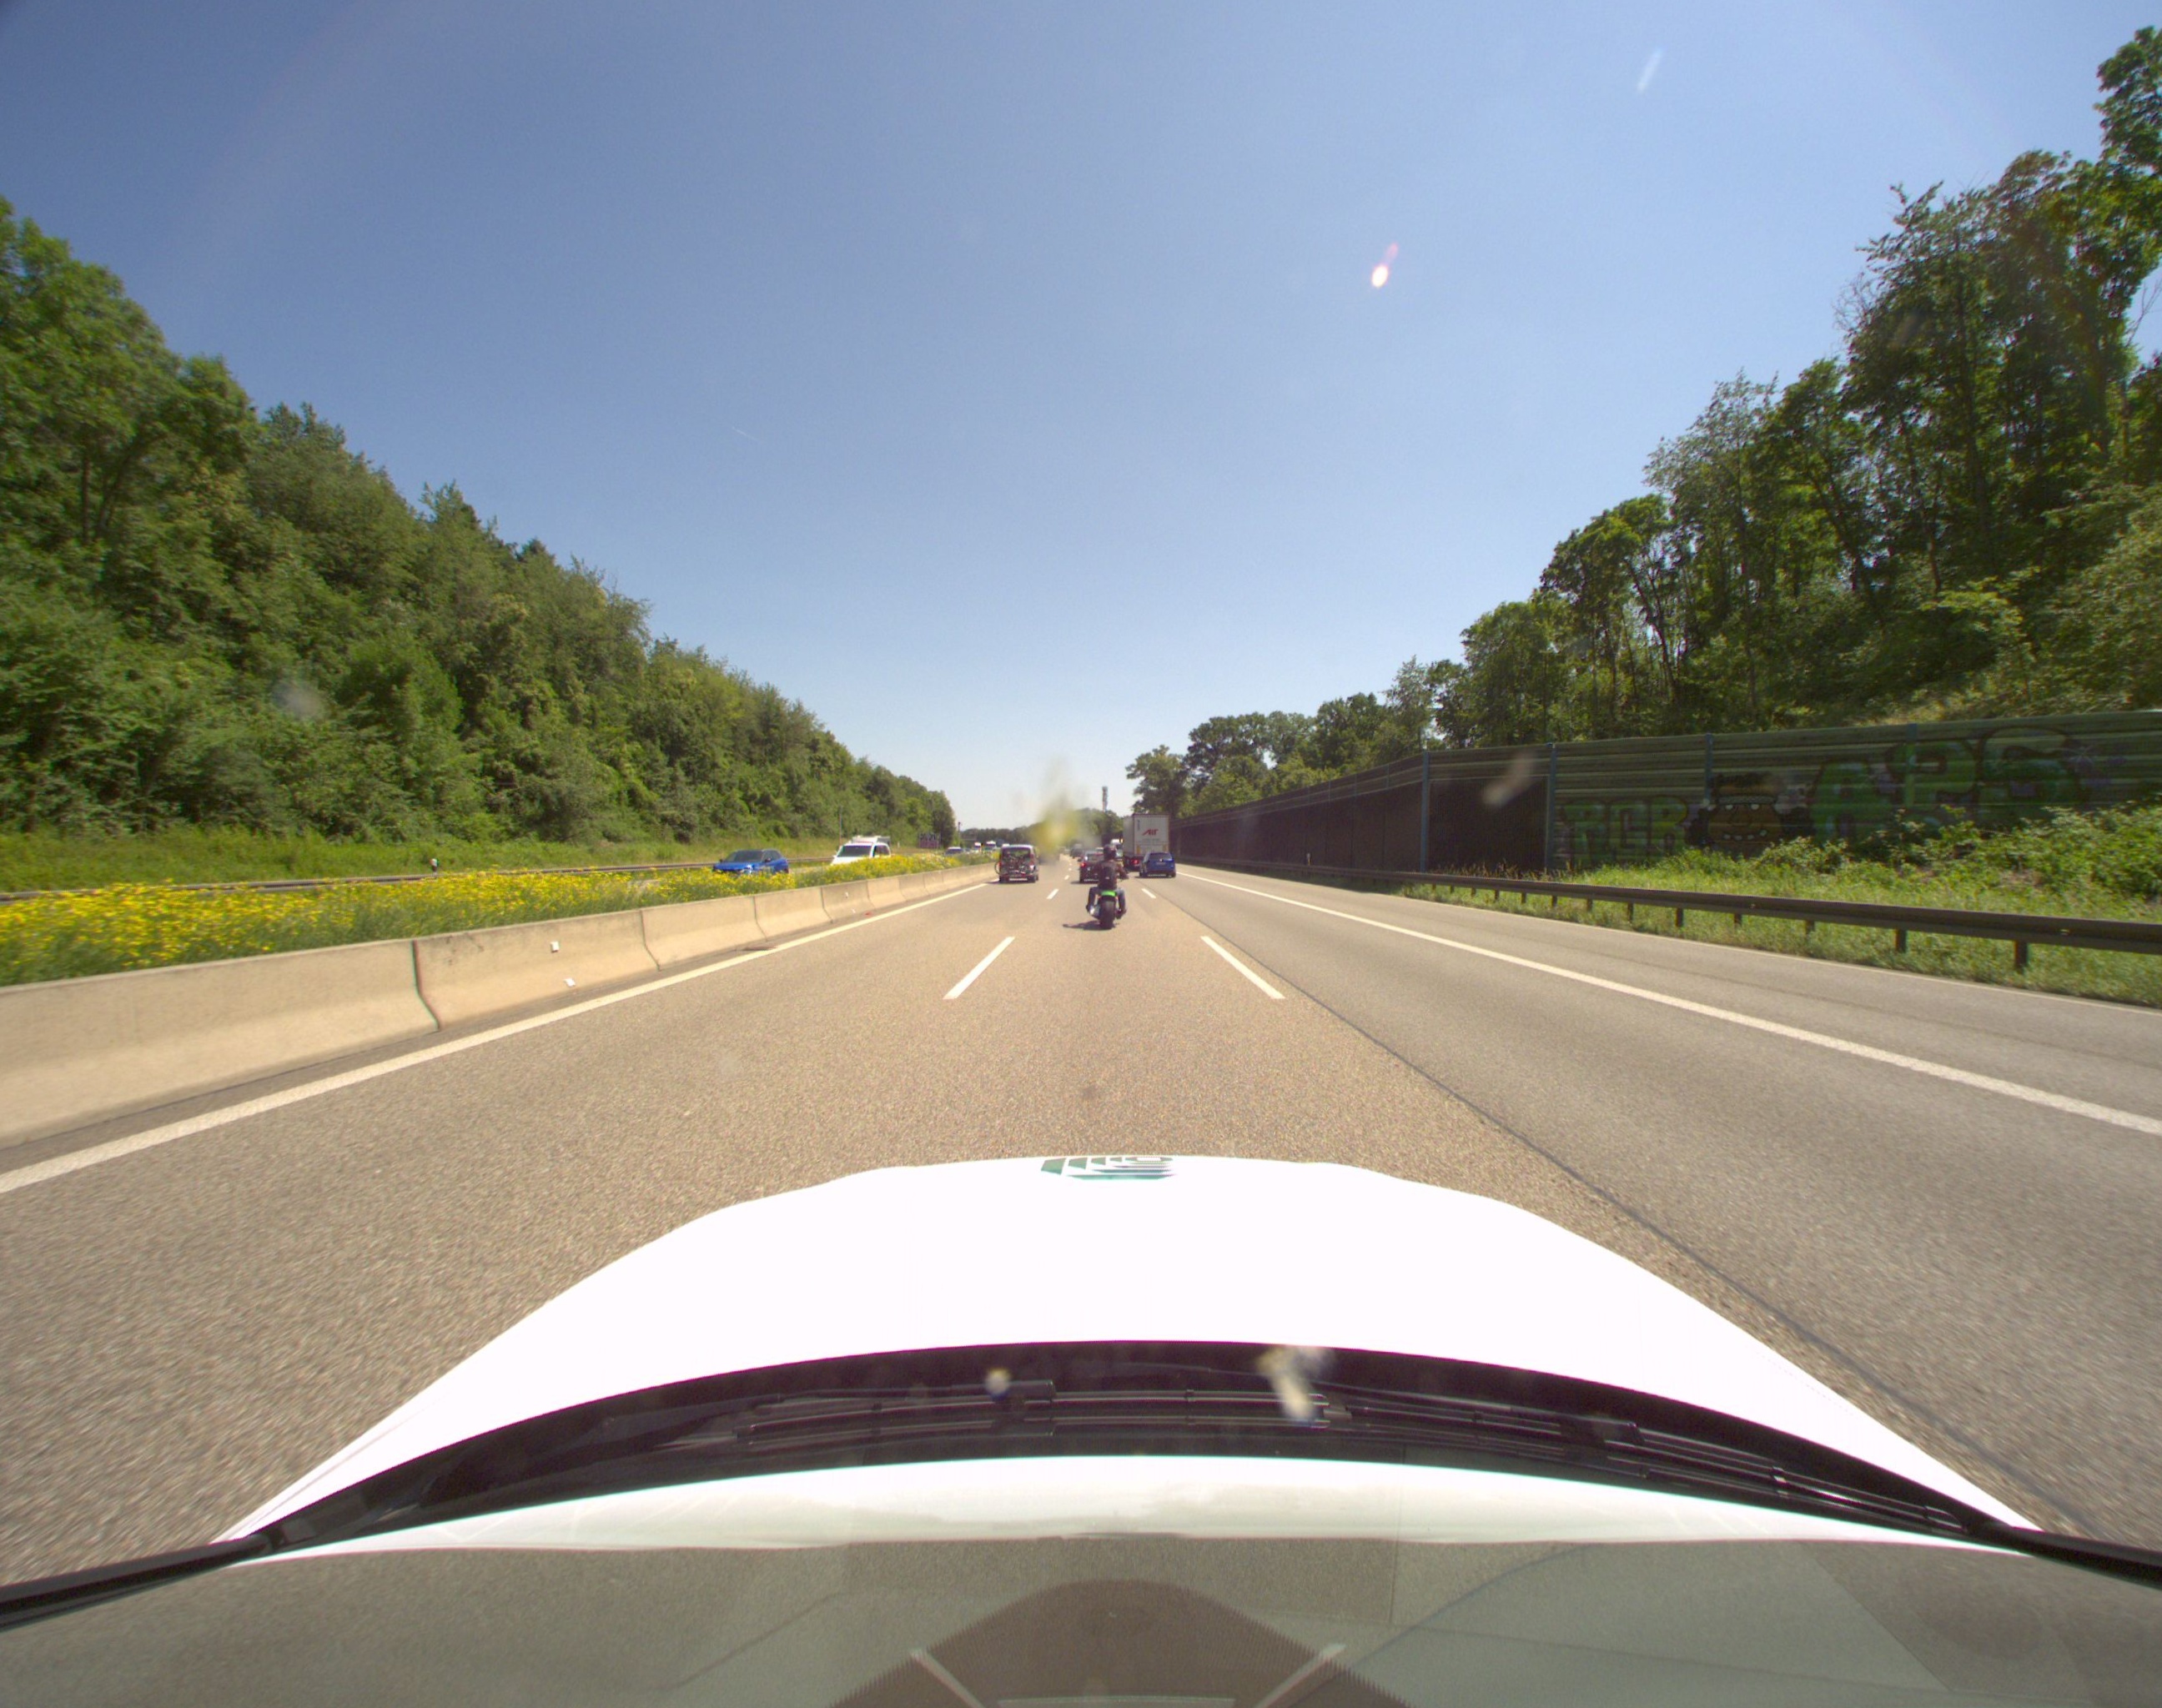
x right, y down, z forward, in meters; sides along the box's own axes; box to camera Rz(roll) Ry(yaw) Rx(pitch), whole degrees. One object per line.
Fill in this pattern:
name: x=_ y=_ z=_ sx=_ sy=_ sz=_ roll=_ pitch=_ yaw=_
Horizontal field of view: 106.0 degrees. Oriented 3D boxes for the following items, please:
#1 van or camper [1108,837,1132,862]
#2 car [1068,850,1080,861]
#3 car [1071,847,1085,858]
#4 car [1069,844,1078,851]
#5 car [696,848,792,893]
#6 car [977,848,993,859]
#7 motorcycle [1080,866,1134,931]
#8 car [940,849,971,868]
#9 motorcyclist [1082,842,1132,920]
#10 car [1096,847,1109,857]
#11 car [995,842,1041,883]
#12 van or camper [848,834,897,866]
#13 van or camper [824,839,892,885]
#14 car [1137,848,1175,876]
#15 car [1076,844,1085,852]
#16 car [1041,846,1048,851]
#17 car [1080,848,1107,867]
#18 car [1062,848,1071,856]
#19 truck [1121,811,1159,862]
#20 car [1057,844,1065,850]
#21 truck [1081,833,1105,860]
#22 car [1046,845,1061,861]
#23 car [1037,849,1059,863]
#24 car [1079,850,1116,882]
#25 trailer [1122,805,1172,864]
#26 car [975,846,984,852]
van or camper: x=4.717 y=-0.516 z=98.553 sx=2.674 sy=2.813 sz=6.806 roll=-1 pitch=-1 yaw=2
car: x=-1.269 y=0.290 z=145.159 sx=1.906 sy=2.014 sz=3.688 roll=-1 pitch=-1 yaw=-2
car: x=-0.390 y=-0.204 z=119.393 sx=1.988 sy=1.640 sz=3.998 roll=-1 pitch=-1 yaw=-1
car: x=-1.965 y=-1.637 z=208.399 sx=2.103 sy=1.876 sz=3.996 roll=-1 pitch=-1 yaw=-2
car: x=-13.440 y=0.649 z=32.806 sx=1.987 sy=1.690 sz=4.401 roll=-1 pitch=-1 yaw=1
car: x=-15.379 y=-0.088 z=130.236 sx=1.987 sy=1.590 sz=4.162 roll=-1 pitch=-1 yaw=0
motorcycle: x=0.578 y=0.847 z=16.609 sx=0.960 sy=1.148 sz=2.815 roll=0 pitch=0 yaw=5
car: x=-10.414 y=0.350 z=67.951 sx=1.801 sy=1.486 sz=3.858 roll=0 pitch=0 yaw=2
motorcyclist: x=0.551 y=0.527 z=16.470 sx=0.895 sy=1.475 sz=1.874 roll=-1 pitch=-1 yaw=5
car: x=3.642 y=-0.309 z=139.282 sx=1.988 sy=1.574 sz=3.997 roll=-1 pitch=-1 yaw=-2
car: x=-3.031 y=0.403 z=39.939 sx=1.893 sy=1.873 sz=4.411 roll=-1 pitch=-1 yaw=0
van or camper: x=-17.652 y=-0.314 z=69.485 sx=2.178 sy=2.560 sz=6.934 roll=-1 pitch=-1 yaw=2
van or camper: x=-10.441 y=0.377 z=38.483 sx=1.876 sy=2.014 sz=4.587 roll=-1 pitch=-1 yaw=0
car: x=4.189 y=0.435 z=46.152 sx=1.646 sy=1.483 sz=4.478 roll=-1 pitch=-1 yaw=-2
car: x=-0.191 y=-1.595 z=202.686 sx=2.103 sy=1.876 sz=3.996 roll=-1 pitch=-1 yaw=-2
car: x=-11.109 y=-1.617 z=247.041 sx=1.830 sy=1.496 sz=3.736 roll=-1 pitch=-1 yaw=-5
car: x=0.976 y=0.289 z=64.278 sx=1.987 sy=1.430 sz=3.846 roll=-1 pitch=-1 yaw=-1
car: x=-3.095 y=-0.421 z=169.583 sx=1.827 sy=1.496 sz=3.742 roll=-1 pitch=-1 yaw=-1
truck: x=4.958 y=-1.454 z=69.643 sx=2.876 sy=4.146 sz=5.986 roll=-1 pitch=0 yaw=1
car: x=-4.784 y=-1.646 z=197.071 sx=1.827 sy=1.496 sz=3.742 roll=-1 pitch=-1 yaw=-1
truck: x=2.246 y=-1.425 z=155.103 sx=3.794 sy=4.960 sz=8.940 roll=-1 pitch=-1 yaw=-3
car: x=-3.557 y=-0.141 z=105.789 sx=1.787 sy=2.014 sz=3.639 roll=-1 pitch=-1 yaw=-2
car: x=-3.317 y=0.243 z=82.542 sx=1.987 sy=1.387 sz=4.000 roll=-1 pitch=-1 yaw=0
car: x=0.764 y=0.581 z=39.092 sx=1.657 sy=1.453 sz=3.868 roll=-1 pitch=-1 yaw=0
trailer: x=4.862 y=-1.387 z=62.800 sx=2.876 sy=4.038 sz=13.796 roll=-1 pitch=0 yaw=1
car: x=-25.580 y=-1.160 z=205.043 sx=1.988 sy=1.432 sz=4.188 roll=-1 pitch=0 yaw=-2
